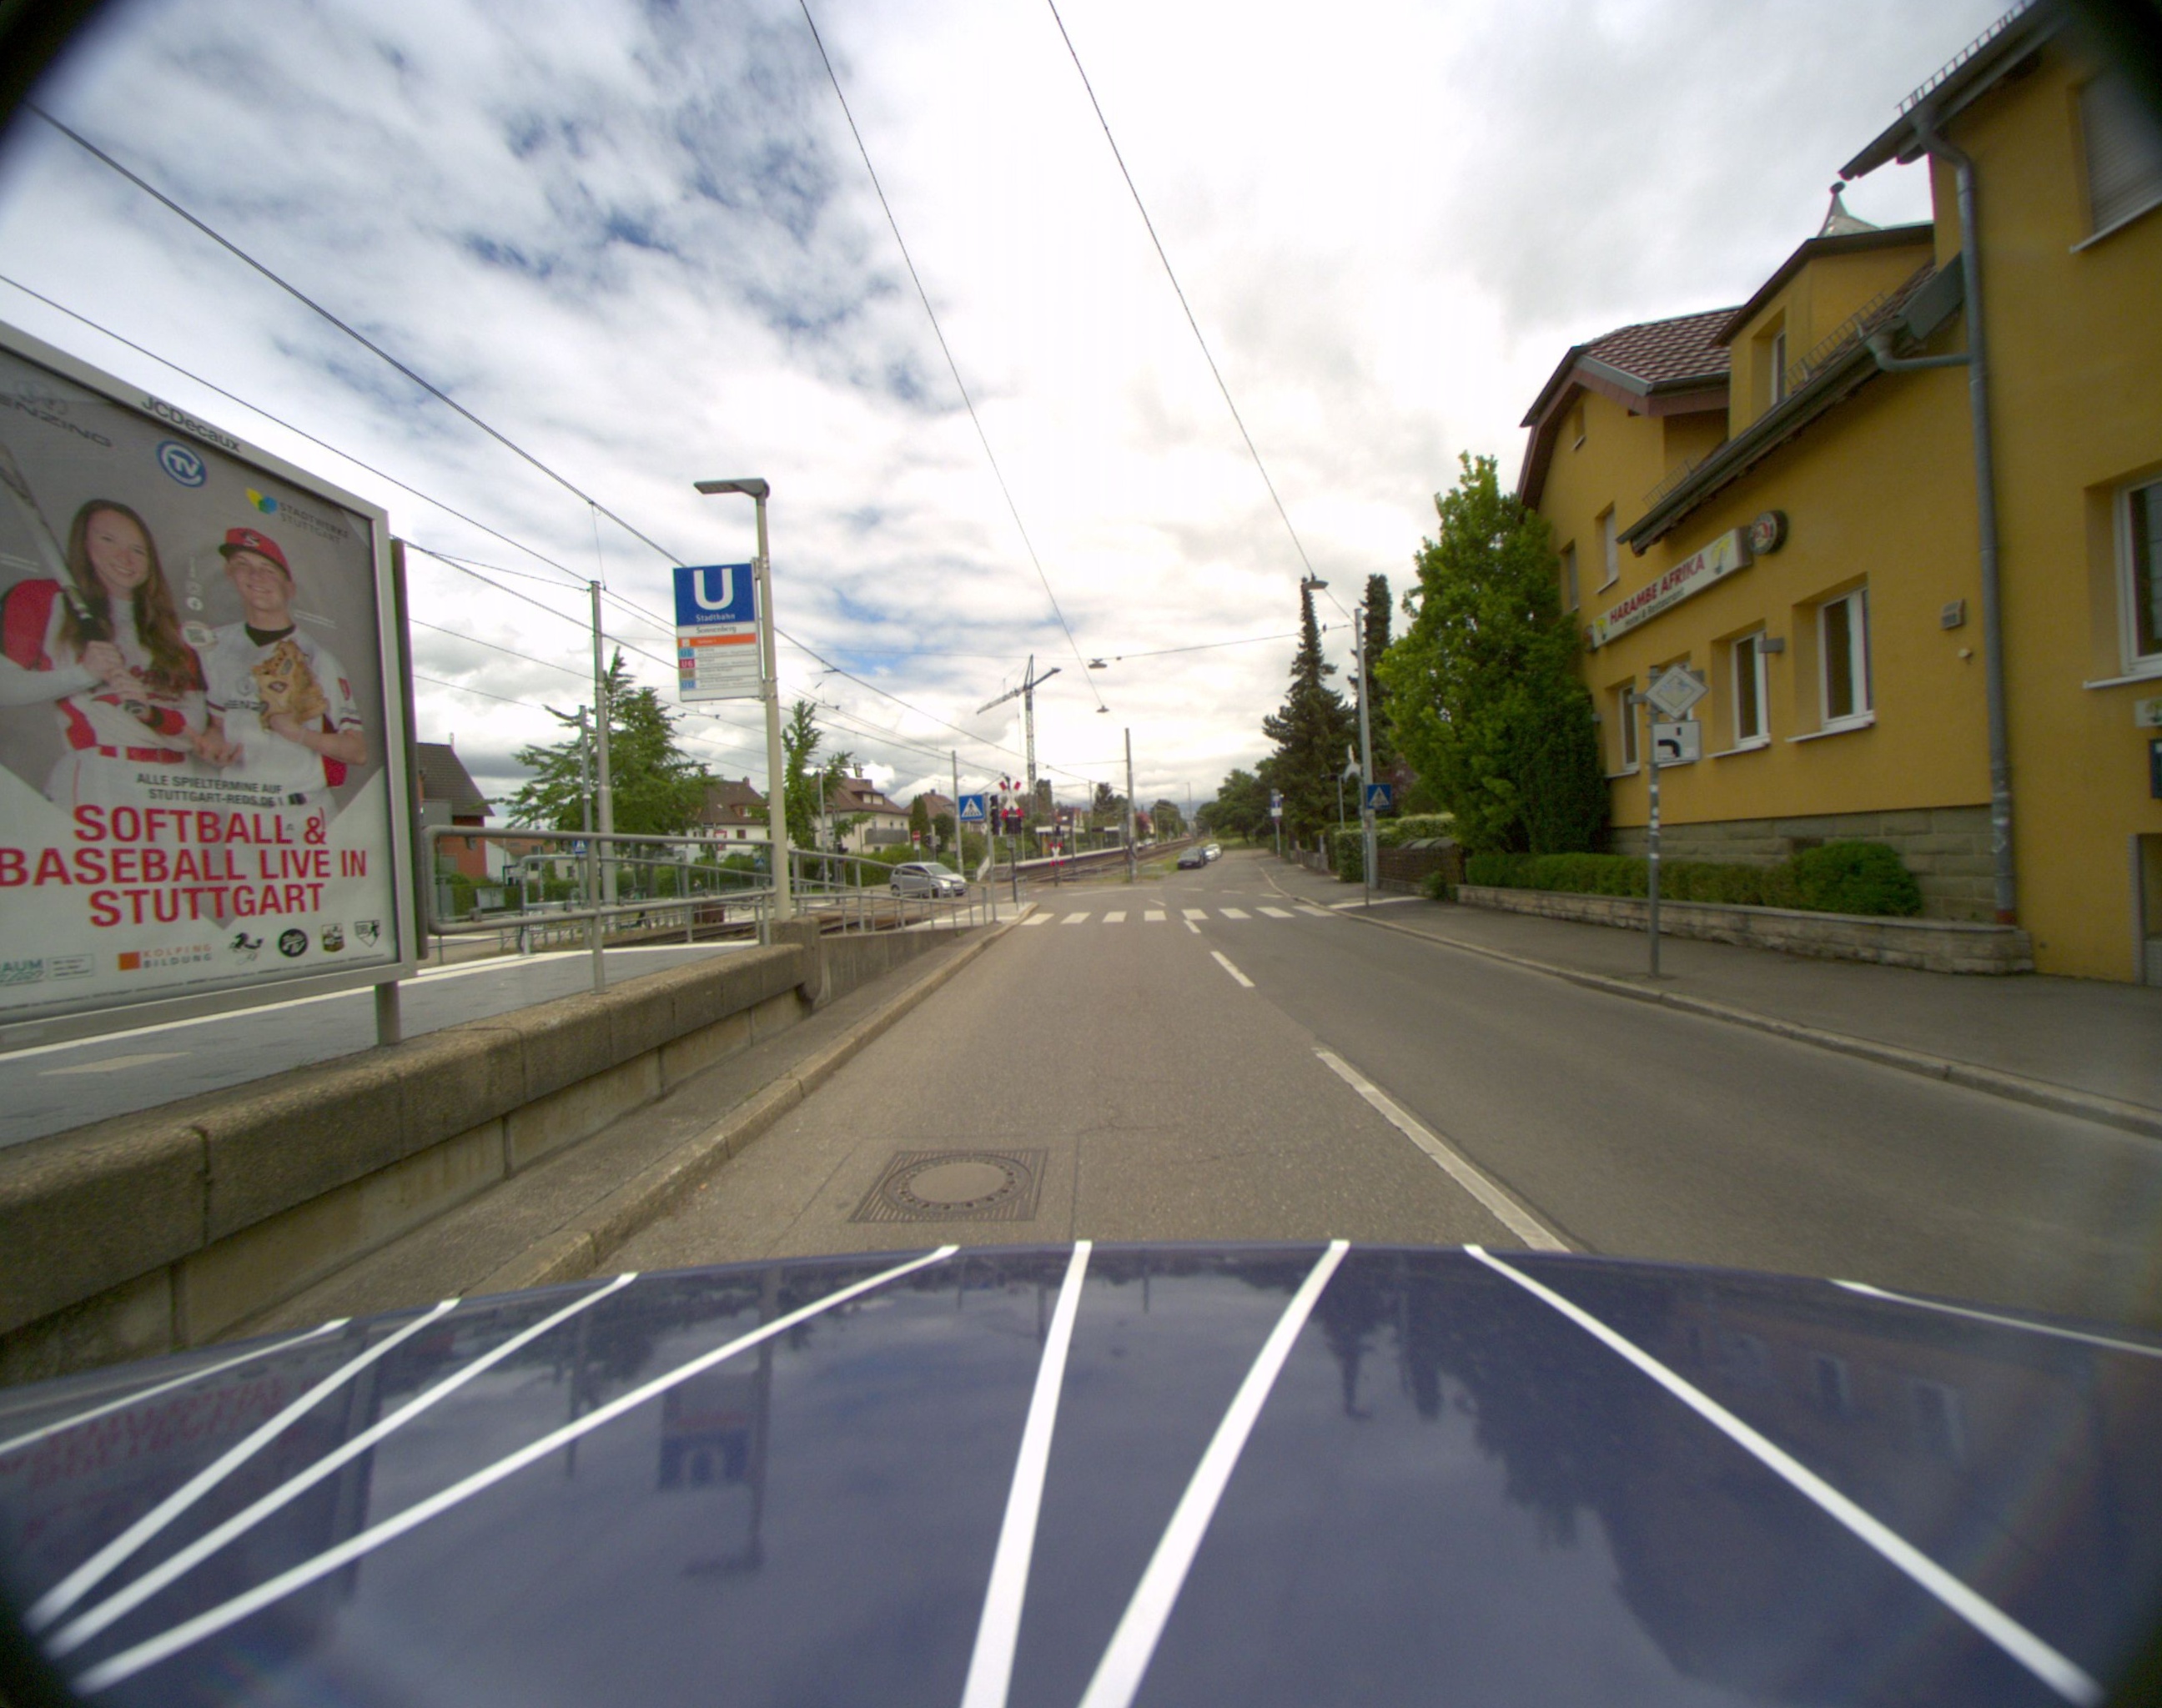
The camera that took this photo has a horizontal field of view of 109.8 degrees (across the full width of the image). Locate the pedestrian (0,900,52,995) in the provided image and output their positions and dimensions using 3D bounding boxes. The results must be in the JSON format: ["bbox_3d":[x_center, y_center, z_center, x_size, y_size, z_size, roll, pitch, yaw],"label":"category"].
[{"bbox_3d":[-22.509,1.956,15.968,0.626,1.903,0.830,-3,0,-19],"label":"pedestrian"}]

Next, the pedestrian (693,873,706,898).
[{"bbox_3d":[-26.042,2.168,51.810,0.599,1.611,0.676,-6,3,-24],"label":"pedestrian"}]

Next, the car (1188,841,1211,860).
[{"bbox_3d":[10.398,-0.306,66.503,1.820,1.493,4.122,-4,1,11],"label":"car"}]

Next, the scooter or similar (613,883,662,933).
[{"bbox_3d":[-12.457,1.510,21.333,1.050,1.308,0.490,-3,0,7],"label":"scooter or similar"}]

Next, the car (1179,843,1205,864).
[{"bbox_3d":[8.859,-0.053,60.452,1.820,1.493,4.122,-4,1,11],"label":"car"}]

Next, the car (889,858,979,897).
[{"bbox_3d":[-6.762,1.099,34.810,3.917,1.559,1.730,-4,0,36],"label":"car"}]

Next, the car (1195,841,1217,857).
[{"bbox_3d":[12.725,-0.519,77.021,1.852,1.368,4.003,-4,1,13],"label":"car"}]

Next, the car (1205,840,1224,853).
[{"bbox_3d":[15.501,-0.885,87.849,1.852,1.368,4.003,-4,1,13],"label":"car"}]

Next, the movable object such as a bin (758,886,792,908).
[{"bbox_3d":[-12.575,1.756,31.244,0.578,0.820,1.096,-3,1,31],"label":"movable object such as a bin"}]

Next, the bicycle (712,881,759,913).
[{"bbox_3d":[-13.658,1.688,30.109,0.465,1.149,1.695,-3,0,28],"label":"bicycle"}]
